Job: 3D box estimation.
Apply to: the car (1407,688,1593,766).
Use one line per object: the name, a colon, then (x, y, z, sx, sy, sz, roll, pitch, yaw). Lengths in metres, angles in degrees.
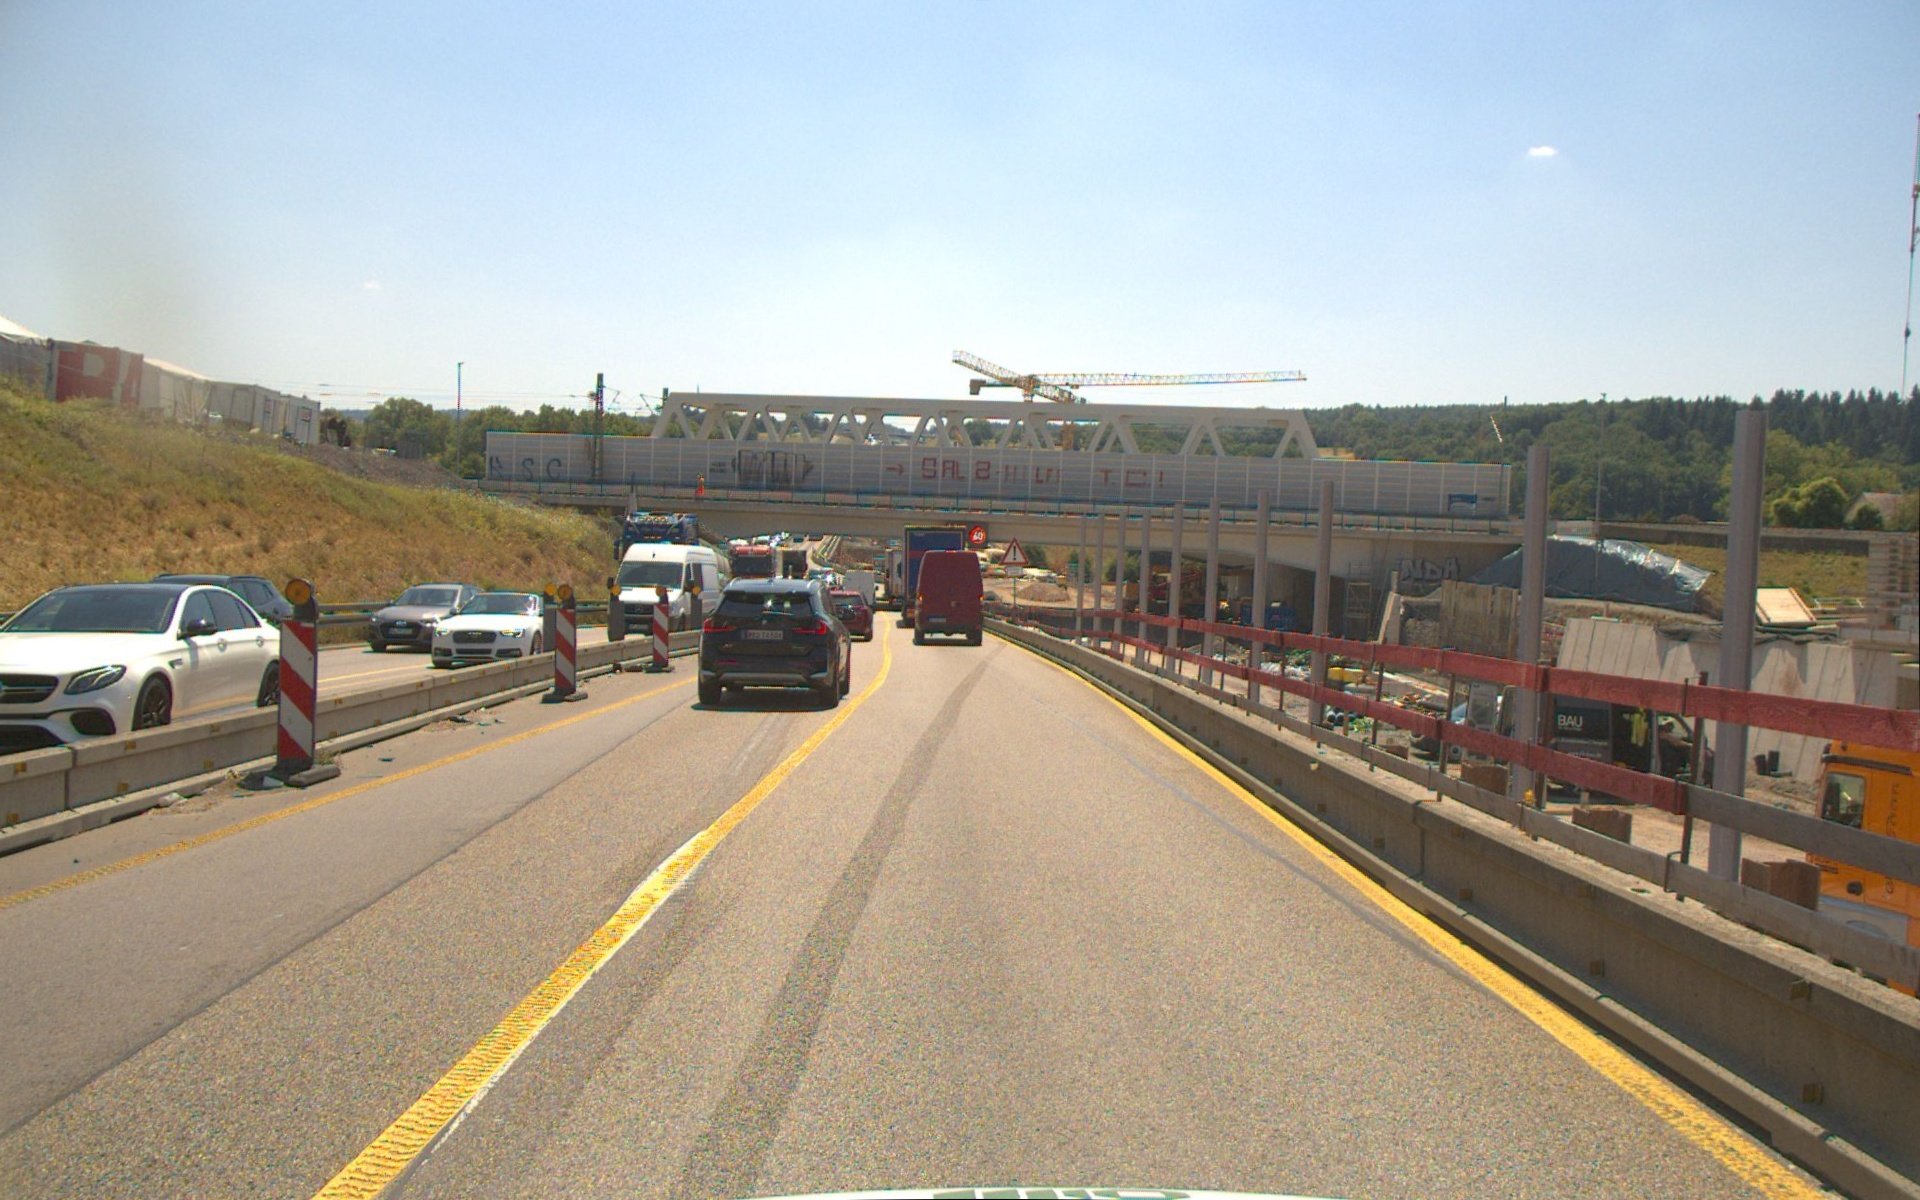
car: (15.587, 3.669, 47.905, 4.633, 1.804, 2.000, 3, 2, -2)

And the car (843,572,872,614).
car: (-6.243, -0.431, 100.574, 1.741, 2.483, 4.203, 0, 1, -4)

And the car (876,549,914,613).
car: (-4.533, -1.284, 113.667, 2.402, 4.233, 6.855, 0, 1, -4)

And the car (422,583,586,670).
car: (-8.428, 0.435, 30.983, 1.764, 1.472, 4.637, 1, 1, 0)

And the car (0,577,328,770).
car: (-7.782, 0.554, 15.615, 1.922, 1.489, 4.938, 1, 1, -3)

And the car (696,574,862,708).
car: (-2.374, 0.474, 22.747, 1.841, 1.646, 4.498, 1, 1, -1)

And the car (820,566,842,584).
car: (-15.040, -2.944, 193.015, 1.959, 2.049, 3.986, 1, 1, -14)

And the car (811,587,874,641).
car: (-3.500, 0.390, 49.822, 1.740, 1.543, 4.205, 1, 1, -2)

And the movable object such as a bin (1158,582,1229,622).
movable object such as a bin: (17.554, 0.122, 124.473, 5.039, 2.856, 2.143, 1, 0, 2)

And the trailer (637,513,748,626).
trailer: (-10.560, -1.170, 66.413, 2.299, 4.085, 11.451, 1, 1, 1)

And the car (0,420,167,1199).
car: (-2.703, 0.561, 1.477, 1.739, 1.748, 4.653, 1, 2, 0)

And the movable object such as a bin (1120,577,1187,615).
movable object such as a bin: (15.344, -0.300, 131.365, 5.039, 2.856, 2.143, 1, 0, 2)

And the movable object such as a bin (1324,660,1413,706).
movable object such as a bin: (16.050, 3.258, 65.025, 3.042, 1.590, 1.549, 2, 1, 33)

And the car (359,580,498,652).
car: (-11.730, 0.319, 36.779, 1.729, 1.472, 4.128, 1, 1, 0)

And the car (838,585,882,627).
car: (-4.272, 0.242, 70.313, 1.803, 1.683, 4.161, 0, 1, -4)

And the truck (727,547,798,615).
truck: (-12.165, -1.180, 102.963, 2.777, 3.919, 12.912, 1, 1, 0)

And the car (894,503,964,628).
car: (-1.484, -1.500, 73.397, 2.569, 5.120, 10.389, 0, 1, -4)

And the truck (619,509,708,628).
truck: (-10.644, -1.118, 59.708, 2.309, 4.085, 4.001, 1, 0, 1)

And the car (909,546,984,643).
car: (-0.453, -0.187, 49.235, 1.949, 2.737, 4.620, 0, 1, -4)

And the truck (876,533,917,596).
truck: (-5.957, -3.208, 153.247, 2.780, 5.492, 12.895, 1, 1, -6)

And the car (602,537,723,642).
car: (-8.125, -0.308, 45.909, 1.952, 2.652, 7.011, 1, 1, 1)

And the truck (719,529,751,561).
truck: (-29.416, -7.072, 215.689, 2.787, 3.919, 12.866, 1, 1, -14)

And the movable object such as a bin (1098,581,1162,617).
movable object such as a bin: (13.929, -0.080, 135.704, 5.039, 2.856, 2.143, 1, 0, 2)

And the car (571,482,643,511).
car: (-24.715, -7.227, 115.793, 4.456, 1.814, 1.962, 2, 0, 10)

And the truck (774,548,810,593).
truck: (-15.686, -2.734, 155.193, 2.778, 3.919, 12.903, 1, 1, -3)

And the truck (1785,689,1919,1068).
truck: (11.861, 3.160, 17.888, 2.703, 3.954, 5.879, 1, 1, -2)

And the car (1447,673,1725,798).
car: (15.517, 3.346, 41.124, 5.983, 2.629, 2.522, 3, 2, -13)
